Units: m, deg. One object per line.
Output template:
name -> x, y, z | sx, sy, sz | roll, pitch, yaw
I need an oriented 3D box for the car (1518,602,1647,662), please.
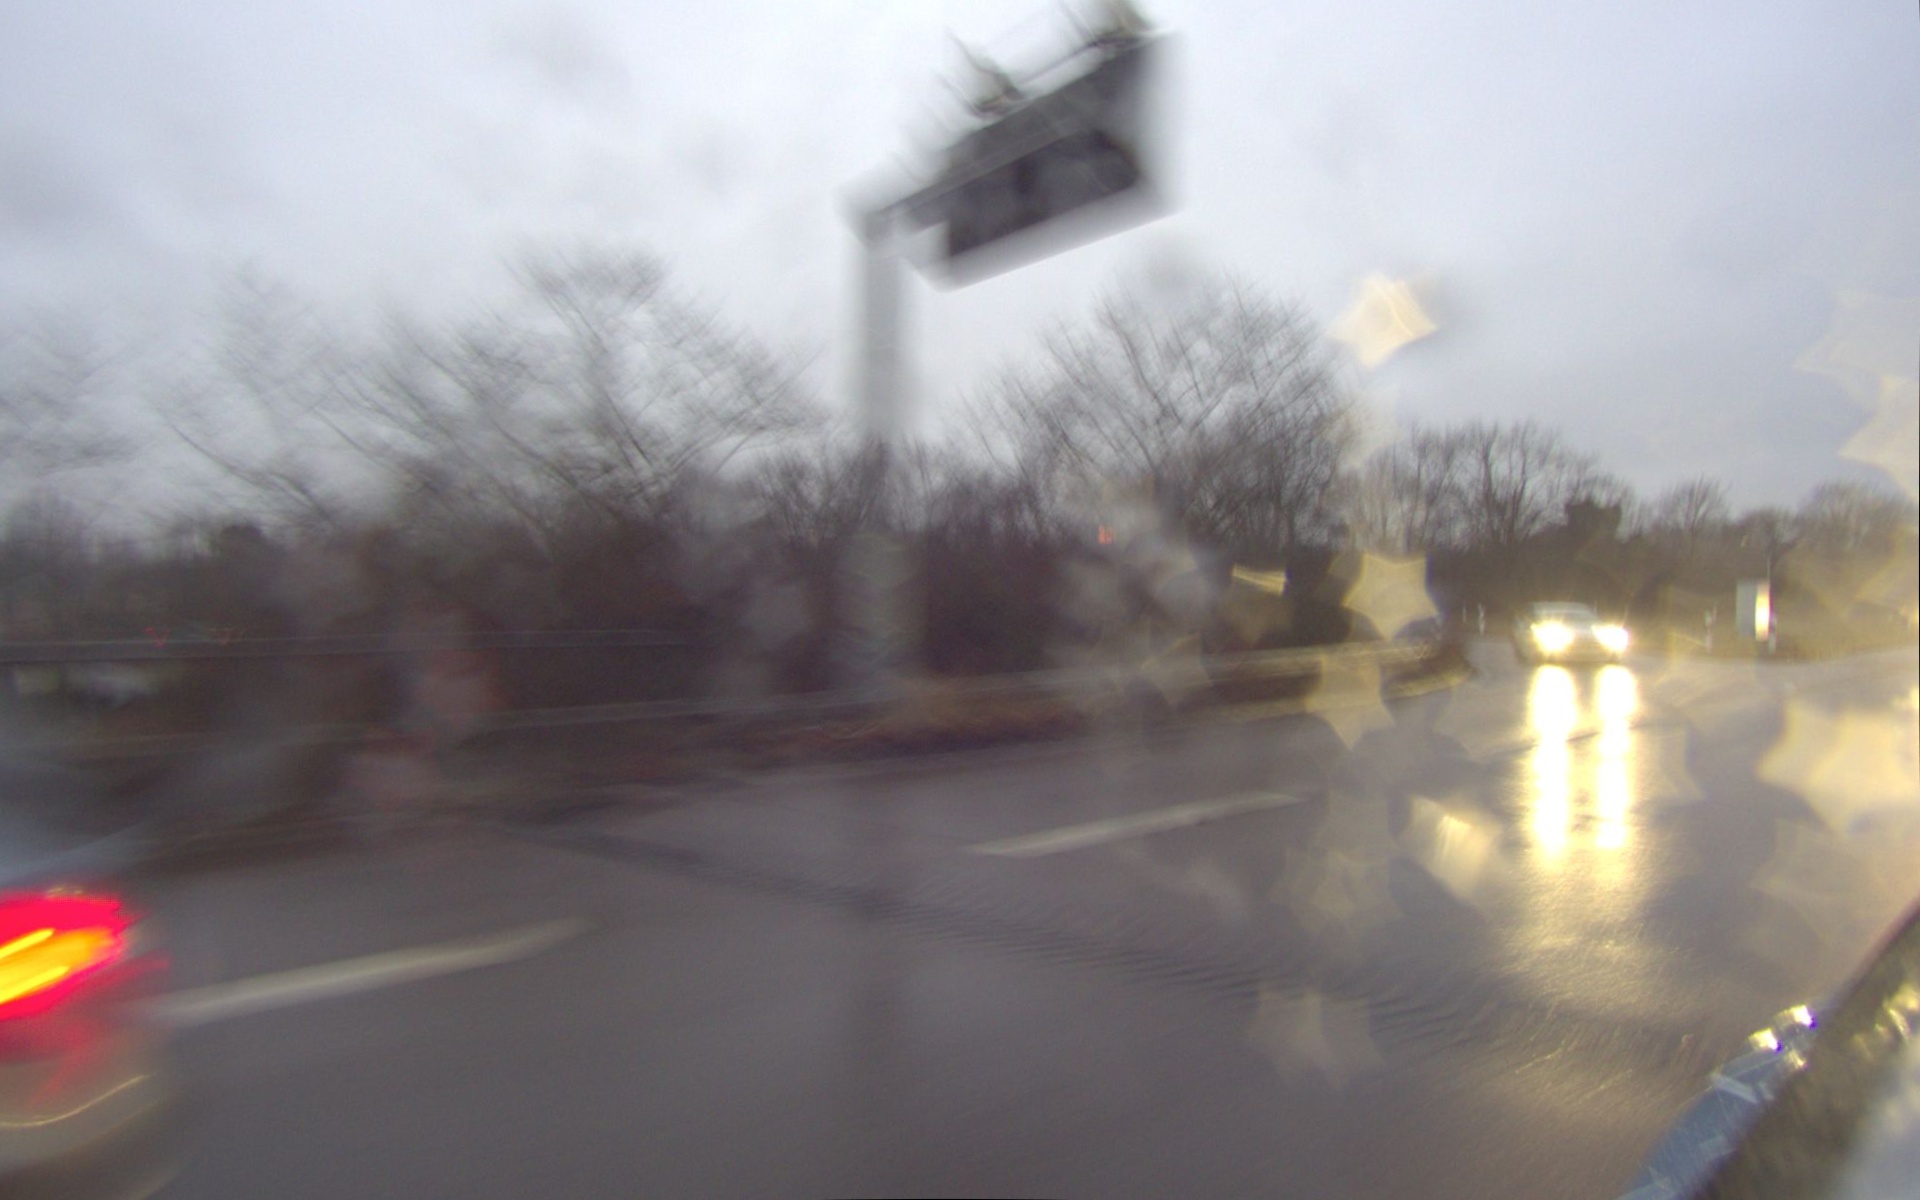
car -> 15.824, 0.745, 25.974 | 1.911, 1.376, 4.369 | 0, 0, 19

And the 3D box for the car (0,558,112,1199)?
car -> -3.619, 0.687, 1.113 | 4.063, 1.519, 1.998 | 0, 1, -39
